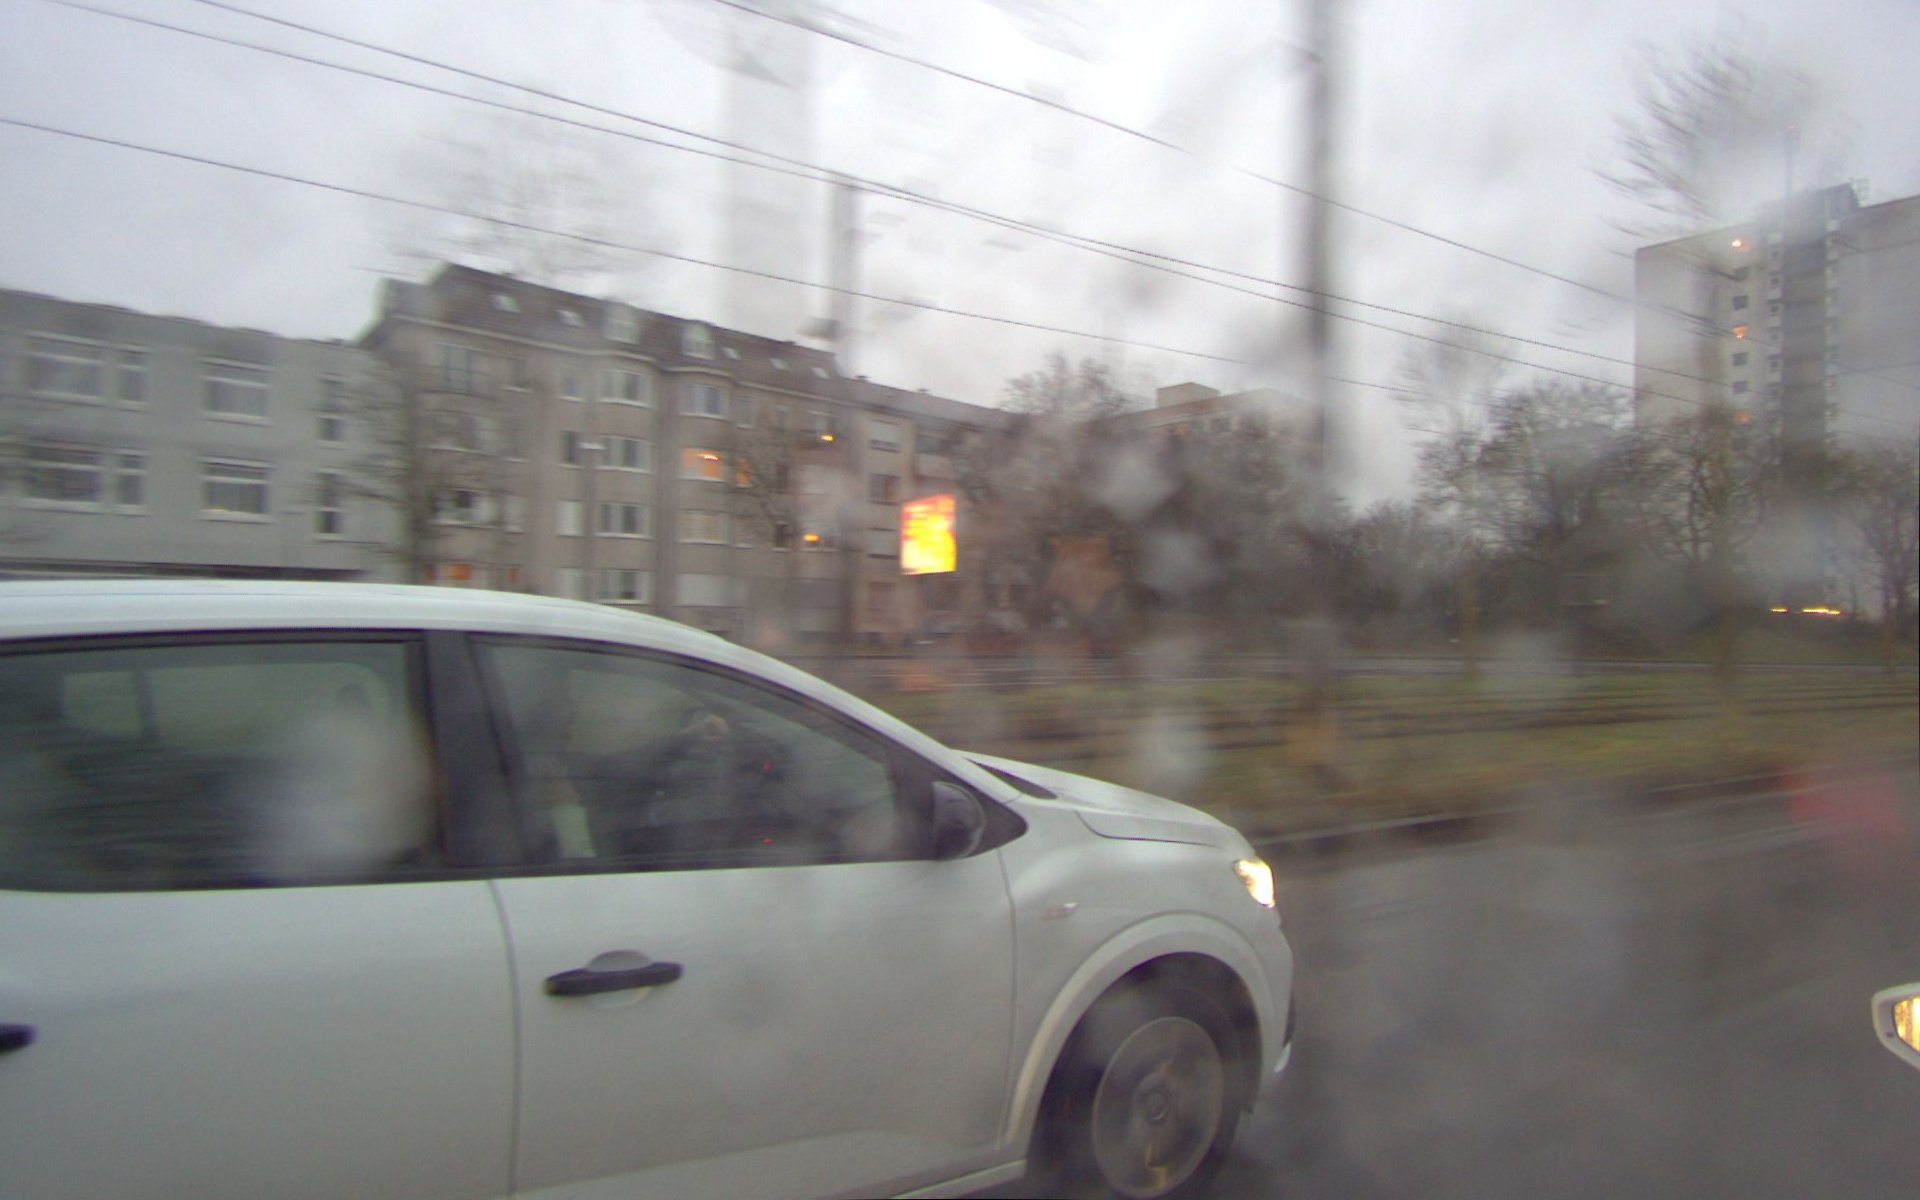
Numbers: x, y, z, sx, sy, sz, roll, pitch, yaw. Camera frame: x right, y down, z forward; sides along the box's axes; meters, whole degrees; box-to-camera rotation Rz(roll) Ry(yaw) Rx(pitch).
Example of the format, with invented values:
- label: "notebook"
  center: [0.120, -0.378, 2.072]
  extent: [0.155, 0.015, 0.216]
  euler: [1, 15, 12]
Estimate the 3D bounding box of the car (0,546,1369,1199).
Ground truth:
- label: "car"
  center: [-1.083, 0.698, 2.360]
  extent: [3.953, 1.485, 1.700]
  euler: [3, -1, -30]
